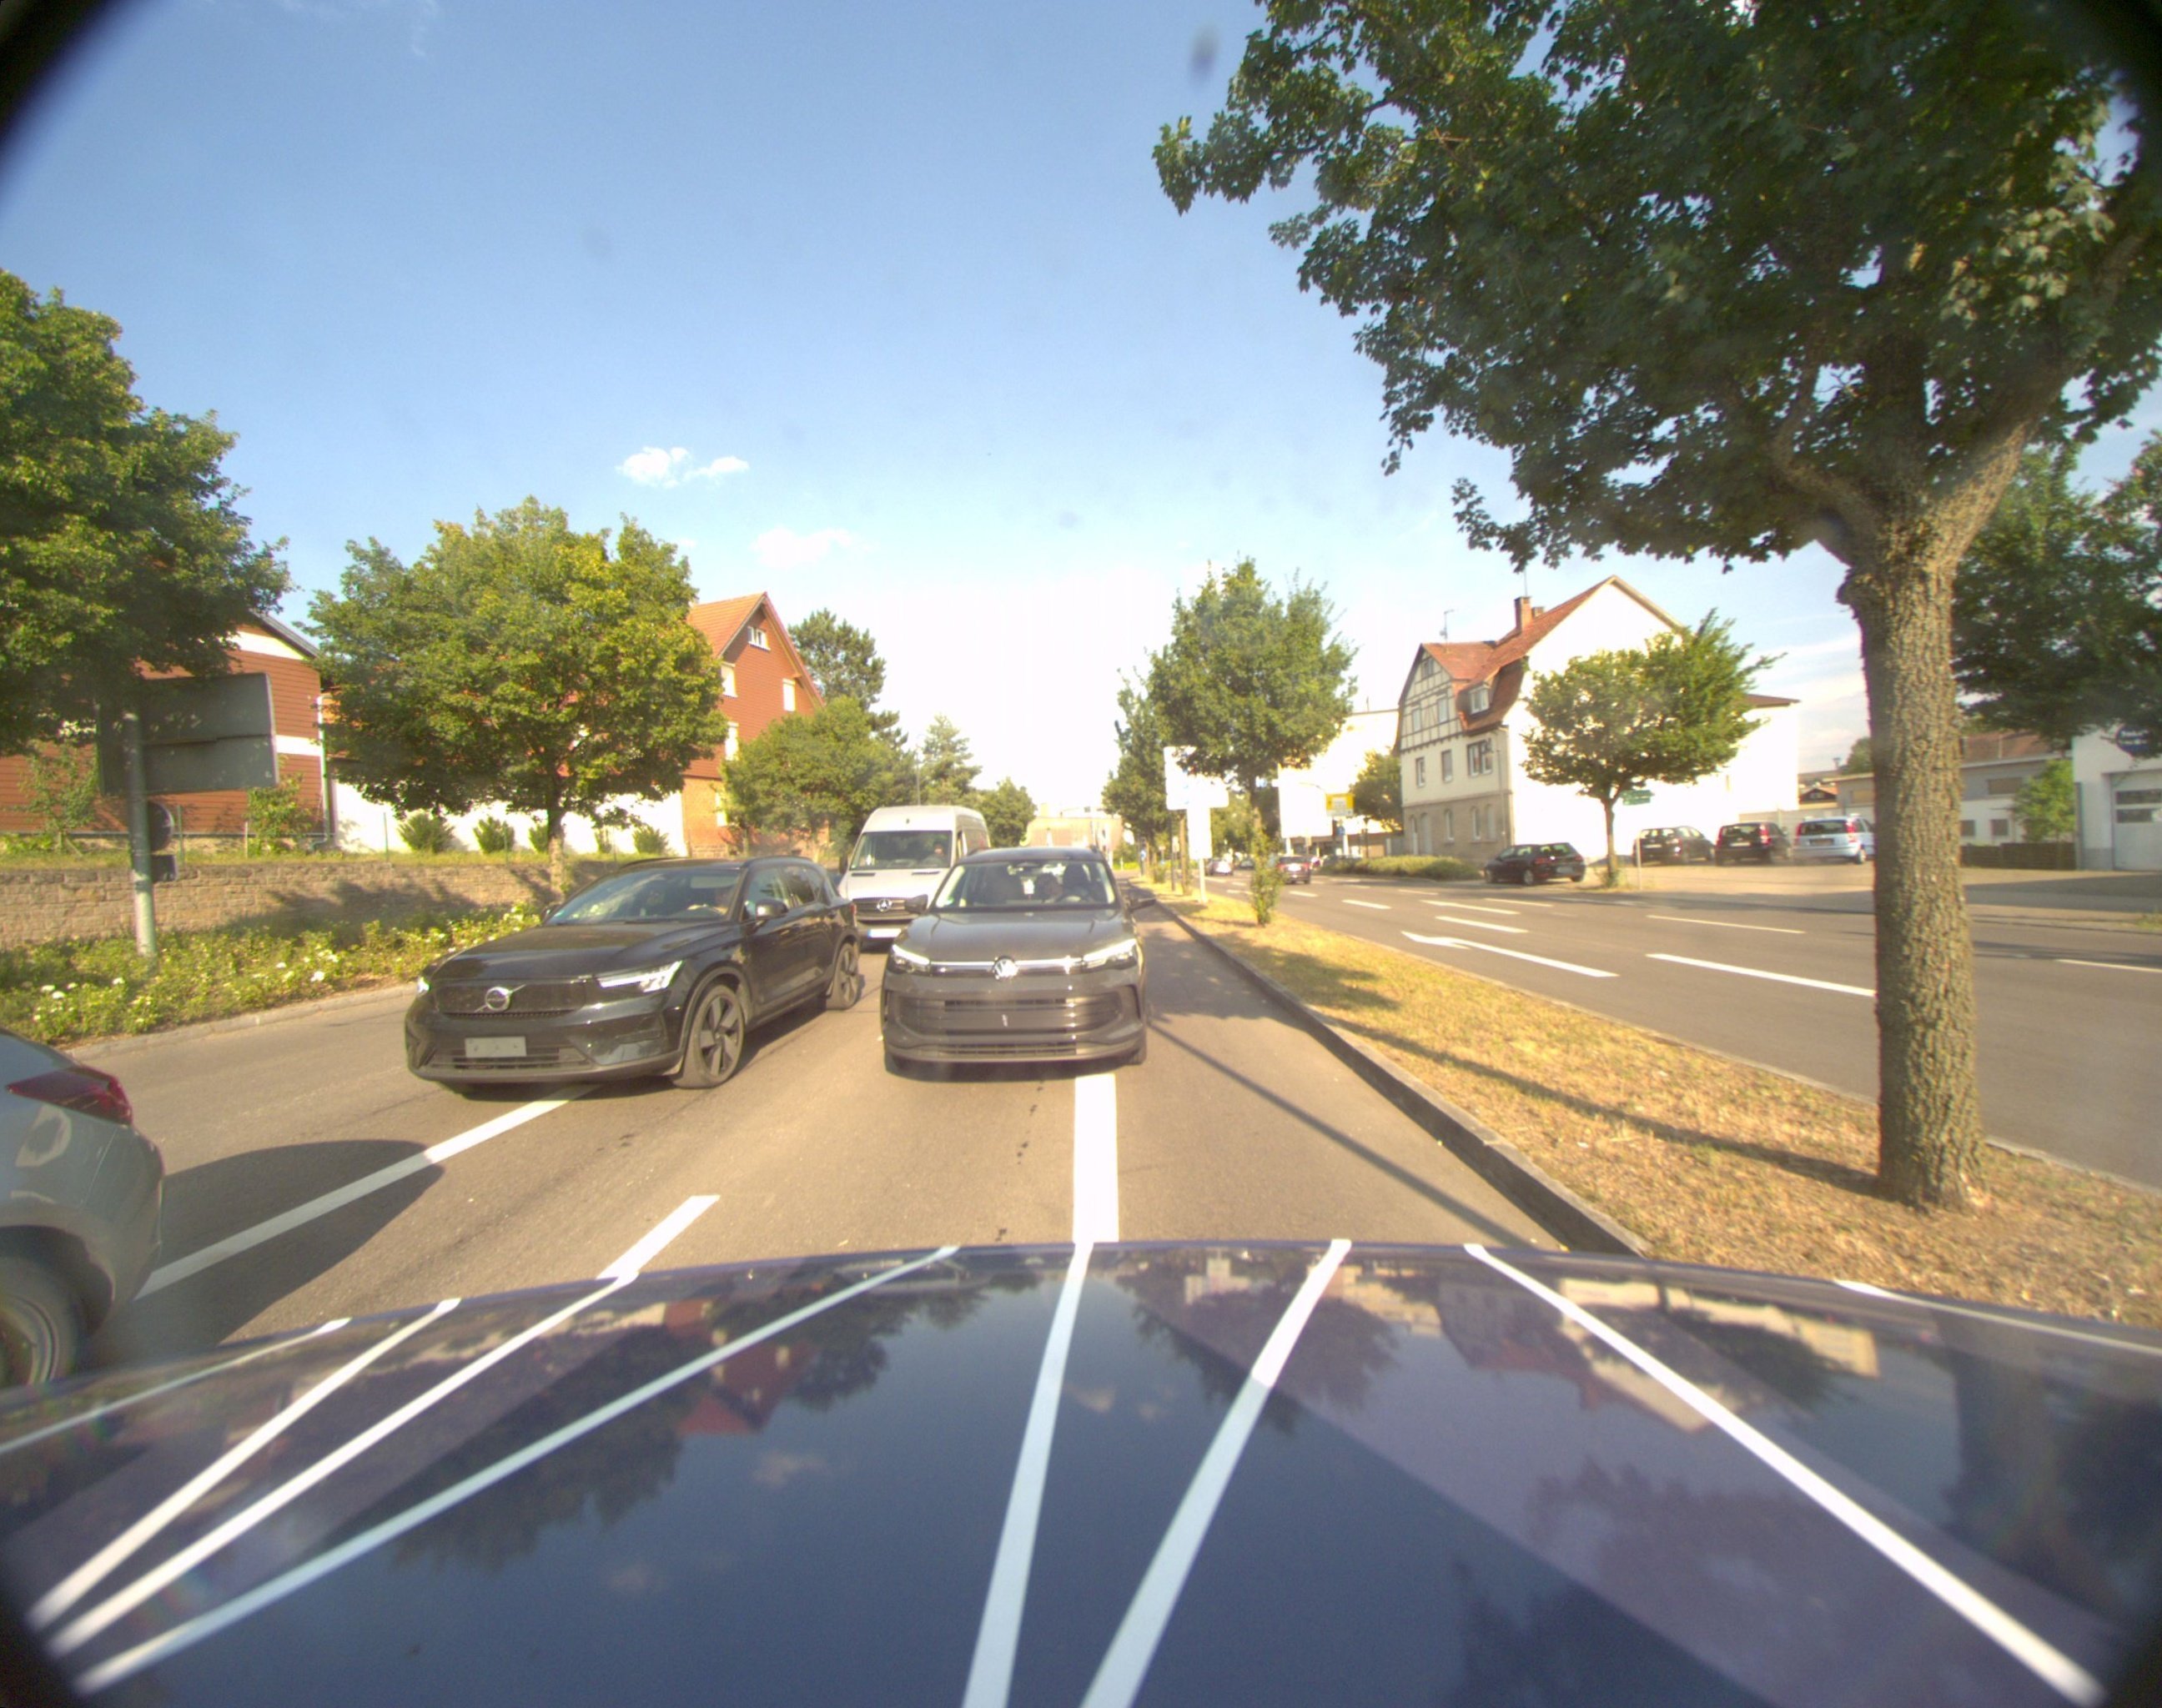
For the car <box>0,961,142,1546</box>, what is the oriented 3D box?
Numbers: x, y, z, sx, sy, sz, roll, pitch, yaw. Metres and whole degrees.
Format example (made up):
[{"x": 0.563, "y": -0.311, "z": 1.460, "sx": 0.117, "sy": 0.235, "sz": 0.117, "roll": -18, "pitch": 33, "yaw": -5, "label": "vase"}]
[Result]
[{"x": -3.622, "y": 1.065, "z": 0.103, "sx": 1.748, "sy": 1.433, "sz": 4.166, "roll": -2, "pitch": 0, "yaw": 0, "label": "car"}]

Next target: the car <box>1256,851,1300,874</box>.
[{"x": 13.556, "y": 0.545, "z": 52.479, "sx": 1.848, "sy": 1.413, "sz": 4.644, "roll": -2, "pitch": 0, "yaw": 1, "label": "car"}]

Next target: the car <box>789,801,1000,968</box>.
[{"x": -3.243, "y": 0.464, "z": 14.941, "sx": 2.370, "sy": 2.532, "sz": 6.192, "roll": -2, "pitch": 0, "yaw": 2, "label": "car"}]

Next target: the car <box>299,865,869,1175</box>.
[{"x": -3.361, "y": 0.967, "z": 6.317, "sx": 1.886, "sy": 1.599, "sz": 4.128, "roll": -2, "pitch": 0, "yaw": 2, "label": "car"}]

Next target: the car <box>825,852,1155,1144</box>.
[{"x": -0.480, "y": 0.850, "z": 6.845, "sx": 1.894, "sy": 1.647, "sz": 4.730, "roll": -2, "pitch": 0, "yaw": 1, "label": "car"}]

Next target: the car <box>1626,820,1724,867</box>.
[{"x": 23.321, "y": -0.421, "z": 29.801, "sx": 4.006, "sy": 1.543, "sz": 1.764, "roll": -4, "pitch": 1, "yaw": -33, "label": "car"}]

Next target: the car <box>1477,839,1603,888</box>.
[{"x": 15.998, "y": 0.307, "z": 26.792, "sx": 1.839, "sy": 1.435, "sz": 4.195, "roll": -5, "pitch": 0, "yaw": 1, "label": "car"}]

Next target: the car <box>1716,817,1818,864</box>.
[{"x": 24.895, "y": -0.491, "z": 27.555, "sx": 4.006, "sy": 1.543, "sz": 1.763, "roll": -2, "pitch": 1, "yaw": -33, "label": "car"}]

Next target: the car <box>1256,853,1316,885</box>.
[{"x": 9.811, "y": 0.671, "z": 36.702, "sx": 1.649, "sy": 1.378, "sz": 4.189, "roll": -2, "pitch": 0, "yaw": -1, "label": "car"}]

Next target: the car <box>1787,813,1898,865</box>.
[{"x": 24.969, "y": -0.490, "z": 24.881, "sx": 4.006, "sy": 1.543, "sz": 1.763, "roll": -2, "pitch": 1, "yaw": -33, "label": "car"}]

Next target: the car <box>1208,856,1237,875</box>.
[{"x": 10.908, "y": 0.864, "z": 58.881, "sx": 1.784, "sy": 1.341, "sz": 4.480, "roll": -2, "pitch": 0, "yaw": 5, "label": "car"}]

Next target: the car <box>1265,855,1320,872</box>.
[{"x": 19.242, "y": 0.822, "z": 69.359, "sx": 4.660, "sy": 1.346, "sz": 1.768, "roll": -2, "pitch": 1, "yaw": 9, "label": "car"}]
